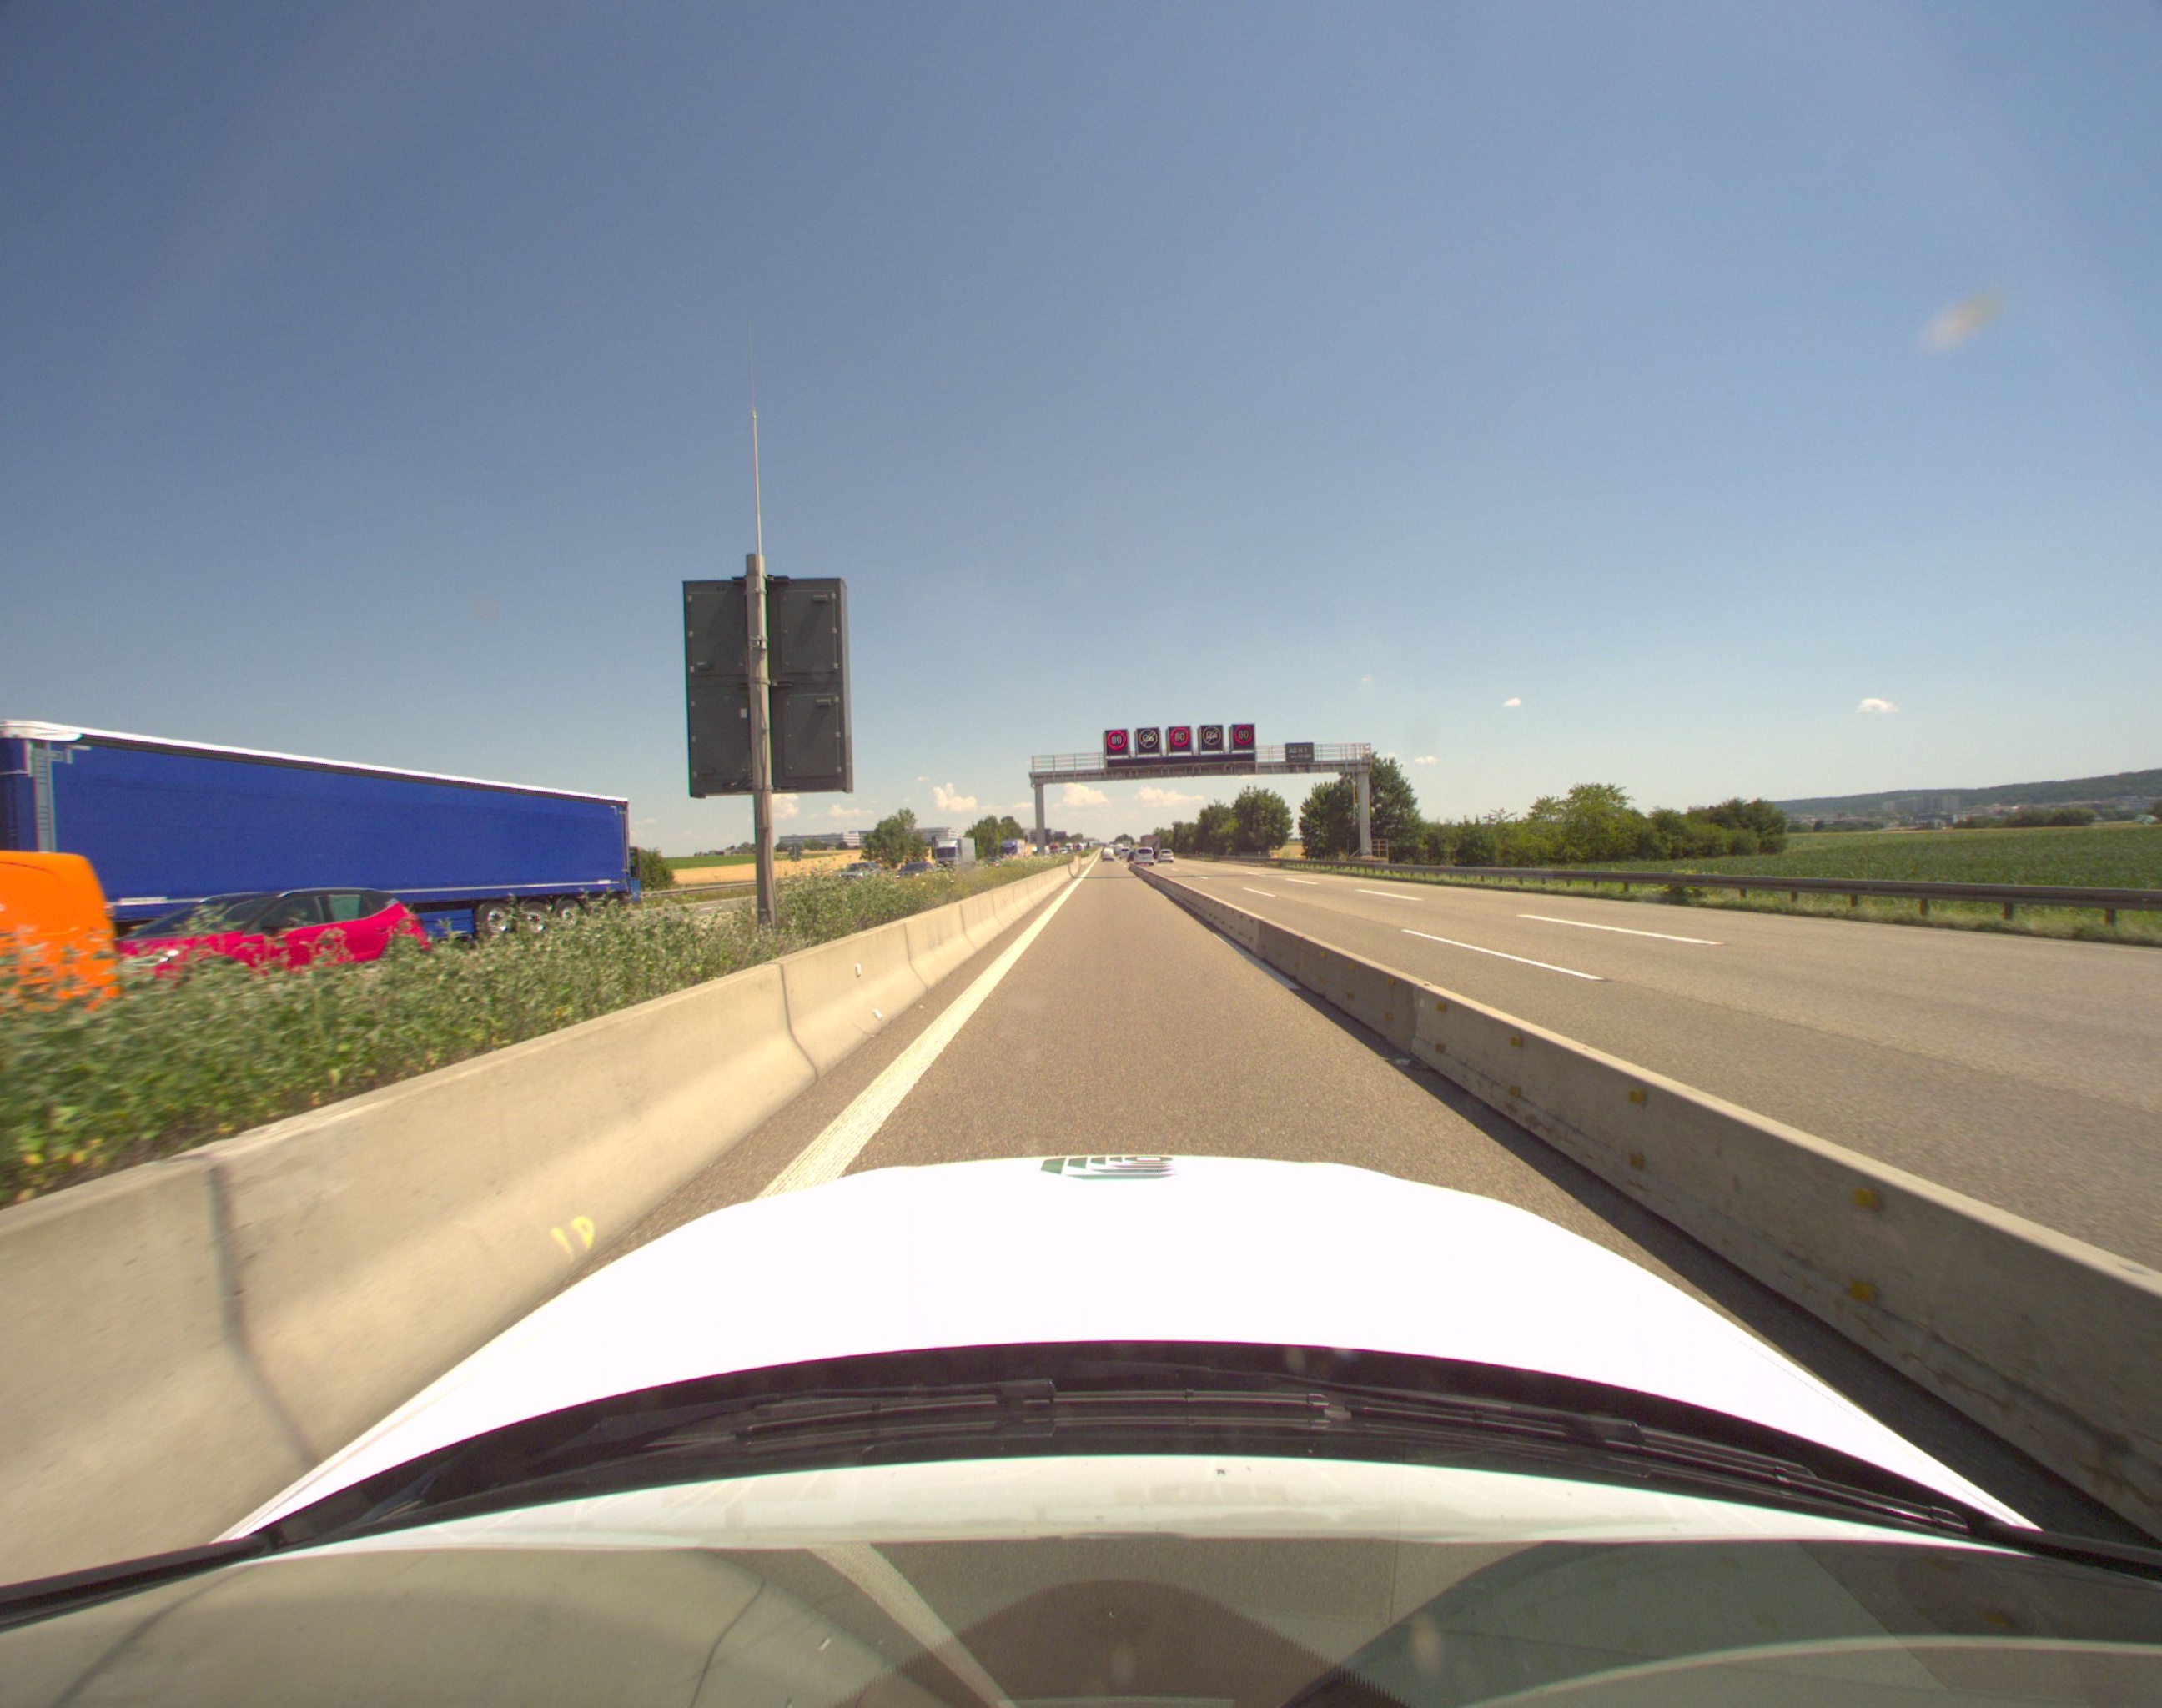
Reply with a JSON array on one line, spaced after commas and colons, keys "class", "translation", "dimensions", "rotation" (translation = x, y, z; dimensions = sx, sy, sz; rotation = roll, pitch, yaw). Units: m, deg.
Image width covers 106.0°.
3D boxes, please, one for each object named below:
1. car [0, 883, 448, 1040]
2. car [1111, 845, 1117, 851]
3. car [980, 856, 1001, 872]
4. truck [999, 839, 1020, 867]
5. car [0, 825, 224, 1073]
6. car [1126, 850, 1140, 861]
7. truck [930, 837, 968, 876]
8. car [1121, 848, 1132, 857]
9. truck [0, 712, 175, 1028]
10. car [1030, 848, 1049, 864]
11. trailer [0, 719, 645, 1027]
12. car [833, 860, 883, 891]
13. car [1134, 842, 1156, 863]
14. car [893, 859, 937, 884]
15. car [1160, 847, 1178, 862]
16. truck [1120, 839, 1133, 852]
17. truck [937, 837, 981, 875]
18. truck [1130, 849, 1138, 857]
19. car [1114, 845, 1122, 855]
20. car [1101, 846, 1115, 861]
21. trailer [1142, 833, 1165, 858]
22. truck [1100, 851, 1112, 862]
[{"class": "car", "translation": [-11.113, 1.257, 11.054], "dimensions": [1.582, 1.508, 4.231], "rotation": [-2, 0, 2]}, {"class": "car", "translation": [10.451, -1.944, 260.062], "dimensions": [1.986, 1.835, 4.001], "rotation": [-1, 0, 2]}, {"class": "car", "translation": [-9.090, 0.977, 81.791], "dimensions": [1.553, 1.442, 3.837], "rotation": [-3, 0, 1]}, {"class": "truck", "translation": [-11.620, -0.114, 132.912], "dimensions": [2.583, 4.238, 4.855], "rotation": [-4, 0, 1]}, {"class": "car", "translation": [-7.860, 0.599, 4.043], "dimensions": [1.887, 1.578, 4.937], "rotation": [-1, -1, 1]}, {"class": "car", "translation": [7.100, 0.213, 111.838], "dimensions": [1.767, 1.447, 4.001], "rotation": [-1, -1, 1]}, {"class": "truck", "translation": [-13.011, 0.217, 80.618], "dimensions": [2.687, 3.587, 4.003], "rotation": [-4, 0, 2]}, {"class": "car", "translation": [8.218, -0.247, 146.992], "dimensions": [1.767, 1.447, 4.001], "rotation": [-1, -1, 1]}, {"class": "truck", "translation": [-15.179, 0.250, 10.112], "dimensions": [2.402, 4.086, 4.662], "rotation": [-2, 0, 2]}, {"class": "car", "translation": [-5.267, 0.219, 103.359], "dimensions": [1.986, 1.946, 4.795], "rotation": [-2, 0, 1]}, {"class": "trailer", "translation": [-14.889, 0.269, 17.917], "dimensions": [2.377, 4.086, 14.104], "rotation": [-2, 0, 2]}, {"class": "car", "translation": [-13.954, 1.333, 51.102], "dimensions": [1.826, 1.719, 4.081], "rotation": [-4, 0, 1]}, {"class": "car", "translation": [6.681, -0.114, 85.188], "dimensions": [1.986, 2.120, 4.001], "rotation": [-1, -1, 1]}, {"class": "car", "translation": [-10.184, 1.027, 50.333], "dimensions": [1.827, 1.324, 4.279], "rotation": [-4, 0, -1]}, {"class": "car", "translation": [11.005, 0.051, 101.939], "dimensions": [1.986, 1.794, 4.001], "rotation": [-1, -1, 1]}, {"class": "truck", "translation": [14.590, -2.783, 263.341], "dimensions": [3.802, 3.904, 9.583], "rotation": [-2, 0, 1]}, {"class": "truck", "translation": [-12.784, 0.176, 86.024], "dimensions": [2.689, 3.620, 8.792], "rotation": [-4, 0, 3]}, {"class": "truck", "translation": [15.057, -0.315, 230.552], "dimensions": [1.986, 2.013, 4.001], "rotation": [-2, 0, 1]}, {"class": "car", "translation": [8.778, -0.882, 193.510], "dimensions": [1.767, 2.392, 4.001], "rotation": [-1, -1, 1]}, {"class": "car", "translation": [4.006, -0.052, 120.607], "dimensions": [1.986, 2.014, 4.001], "rotation": [-1, -1, 1]}, {"class": "trailer", "translation": [12.346, -1.427, 139.070], "dimensions": [3.265, 3.967, 9.115], "rotation": [-1, -1, 2]}, {"class": "truck", "translation": [4.919, 0.463, 159.801], "dimensions": [2.204, 2.013, 4.972], "rotation": [-2, 0, 1]}]
